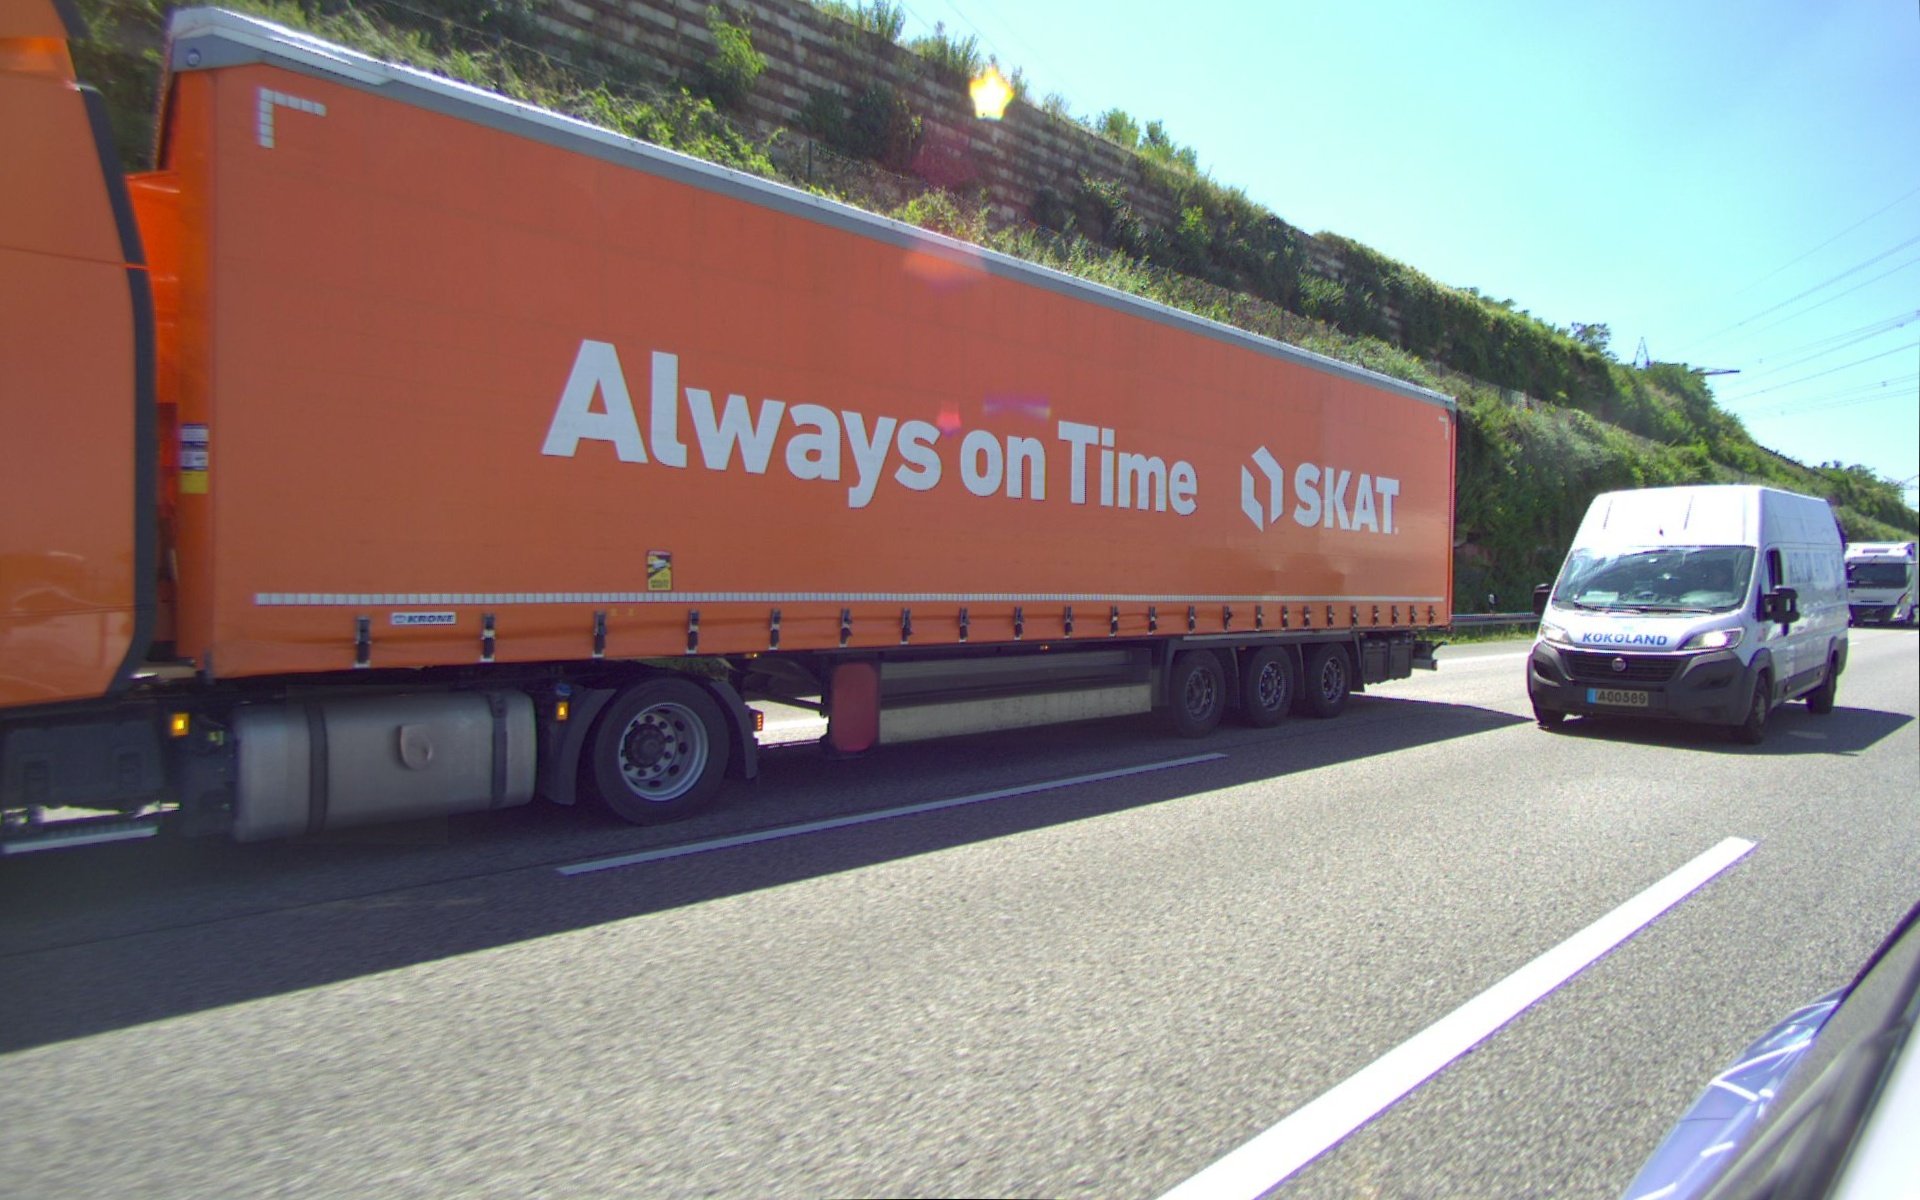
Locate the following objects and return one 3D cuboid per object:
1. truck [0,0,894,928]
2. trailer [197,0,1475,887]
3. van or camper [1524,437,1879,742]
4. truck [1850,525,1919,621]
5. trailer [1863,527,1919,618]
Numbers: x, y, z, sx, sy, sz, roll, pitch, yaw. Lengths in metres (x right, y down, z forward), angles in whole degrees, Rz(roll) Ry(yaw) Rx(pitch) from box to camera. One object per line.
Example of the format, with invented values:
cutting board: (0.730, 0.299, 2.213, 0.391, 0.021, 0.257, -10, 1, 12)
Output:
truck: (-3.747, -0.729, 5.936, 6.412, 4.042, 2.623, 0, 1, -41)
trailer: (0.892, -0.775, 10.019, 13.368, 4.055, 2.650, 0, 1, -41)
van or camper: (9.259, -0.132, 12.301, 6.640, 2.803, 2.100, 0, 1, -42)
truck: (44.254, -1.254, 47.773, 6.147, 4.272, 2.512, 0, 2, -41)
trailer: (50.761, -1.323, 53.516, 16.732, 4.264, 2.519, 0, 1, -42)
